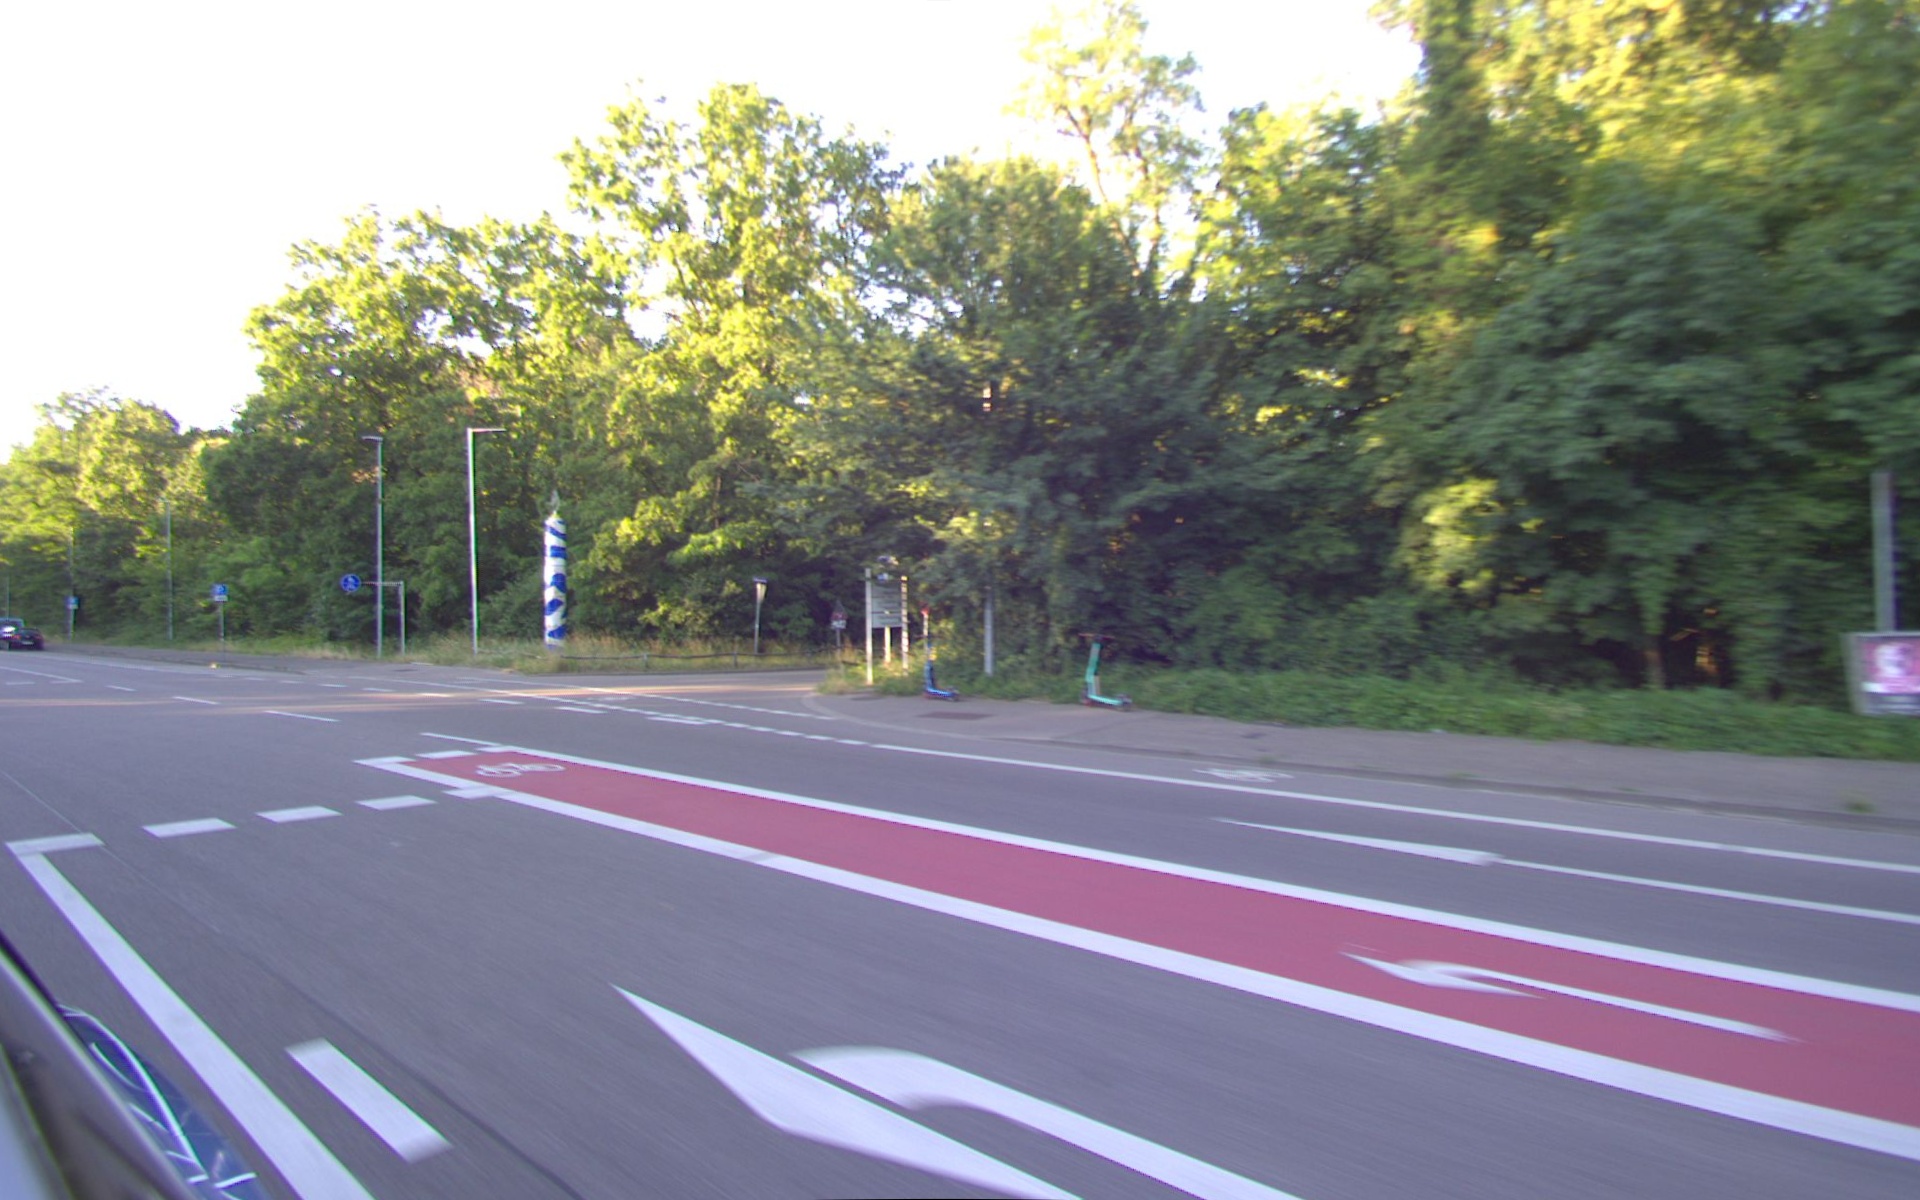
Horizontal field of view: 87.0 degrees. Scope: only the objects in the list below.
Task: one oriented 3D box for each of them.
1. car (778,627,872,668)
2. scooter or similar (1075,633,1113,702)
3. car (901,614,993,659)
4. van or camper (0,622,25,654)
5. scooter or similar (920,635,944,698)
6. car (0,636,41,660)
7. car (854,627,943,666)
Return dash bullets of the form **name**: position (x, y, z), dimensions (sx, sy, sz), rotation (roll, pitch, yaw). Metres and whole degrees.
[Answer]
- **car**: position (-5.050, 1.737, 37.652), dimensions (3.343, 1.463, 1.725), rotation (-2, -2, 43)
- **scooter or similar**: position (2.194, 1.082, 16.540), dimensions (0.491, 1.076, 0.895), rotation (-1, -1, 16)
- **car**: position (-0.591, 1.491, 42.281), dimensions (3.672, 1.797, 1.725), rotation (-2, -2, 43)
- **van or camper**: position (-63.801, 2.511, 66.898), dimensions (5.006, 2.110, 2.012), rotation (-2, -3, 37)
- **scooter or similar**: position (-0.525, 1.213, 18.745), dimensions (0.356, 1.118, 0.881), rotation (0, -1, -7)
- **car**: position (-59.255, 2.986, 63.336), dimensions (4.234, 1.473, 1.672), rotation (-2, -3, 36)
- **car**: position (-2.482, 1.839, 40.508), dimensions (3.343, 1.463, 1.725), rotation (-2, -2, 43)
